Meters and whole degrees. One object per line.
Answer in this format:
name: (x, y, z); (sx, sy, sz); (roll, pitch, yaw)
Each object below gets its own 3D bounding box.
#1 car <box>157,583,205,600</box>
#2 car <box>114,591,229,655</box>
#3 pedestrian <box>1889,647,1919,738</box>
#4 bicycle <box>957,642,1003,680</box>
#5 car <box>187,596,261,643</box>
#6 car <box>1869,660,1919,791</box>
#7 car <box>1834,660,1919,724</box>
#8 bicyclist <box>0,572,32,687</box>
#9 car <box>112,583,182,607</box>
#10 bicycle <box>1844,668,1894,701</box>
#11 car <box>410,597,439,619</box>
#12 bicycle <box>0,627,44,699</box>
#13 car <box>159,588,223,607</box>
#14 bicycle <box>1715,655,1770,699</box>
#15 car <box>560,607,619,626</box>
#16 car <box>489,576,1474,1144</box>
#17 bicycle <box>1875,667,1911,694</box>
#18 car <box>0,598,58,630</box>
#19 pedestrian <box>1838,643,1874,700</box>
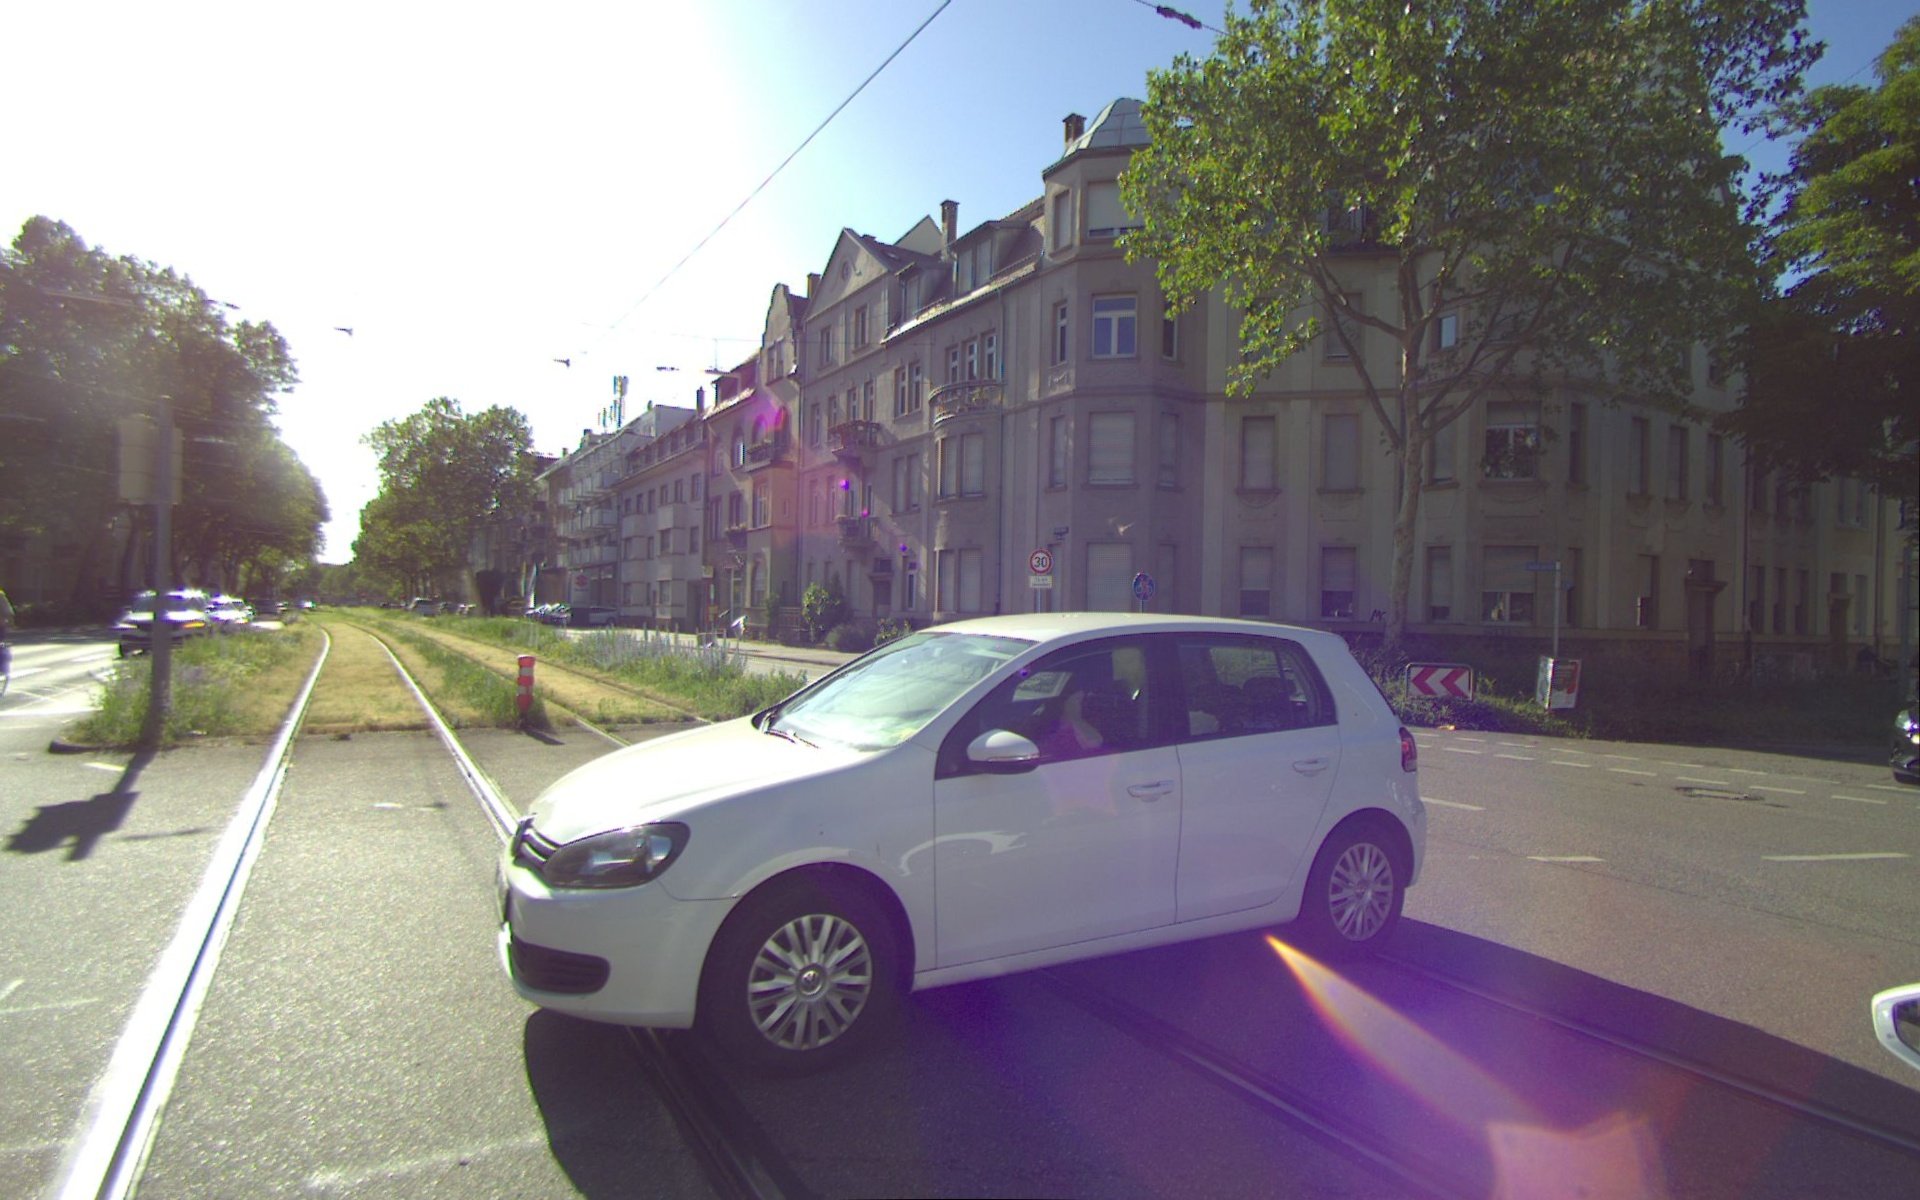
car: (-82.578, -0.901, 106.479); (1.820, 1.729, 3.786); (3, 2, 43)
car: (-20.444, 0.572, 26.197); (1.745, 1.550, 3.988); (1, -1, -30)
pedestrian: (18.479, 1.773, 19.278); (0.669, 1.704, 0.693); (2, -1, -19)
bicycle: (0.515, 1.600, 26.633); (0.492, 0.917, 1.426); (2, -1, -33)
car: (-25.868, 0.660, 35.411); (1.746, 1.550, 3.863); (-1, 0, -32)
car: (12.830, 1.555, 12.098); (3.763, 1.483, 1.653); (4, -2, -29)
car: (24.156, 2.299, 24.593); (1.596, 1.495, 3.865); (2, -2, -29)
bicyclist: (-13.617, 0.395, 14.049); (0.679, 1.563, 1.066); (2, -1, -30)
car: (-62.539, -0.372, 77.307); (1.809, 1.729, 3.809); (2, 2, 18)
bicycle: (26.916, 2.503, 29.728); (1.574, 0.924, 0.471); (2, -1, -23)
car: (-46.881, 0.714, 87.956); (1.963, 1.860, 4.080); (2, -1, -31)
bicycle: (-13.740, 0.874, 14.218); (0.785, 0.937, 1.624); (1, 0, -30)
car: (-73.613, -0.276, 96.188); (1.810, 1.729, 4.591); (2, 2, 20)
bicycle: (22.839, 2.230, 29.298); (1.958, 1.169, 0.511); (1, 2, -30)
car: (-28.216, 1.283, 76.572); (3.956, 1.325, 1.529); (2, -1, -32)
car: (0.214, 0.775, 4.417); (3.954, 1.477, 1.797); (3, -2, -31)
bicycle: (30.877, 2.651, 33.242); (0.956, 0.826, 0.570); (2, 2, -31)
car: (-49.416, 0.726, 53.287); (1.622, 1.609, 3.377); (0, 0, -29)
pedestrian: (26.997, 2.141, 30.264); (0.881, 1.680, 0.459); (2, -1, -22)
